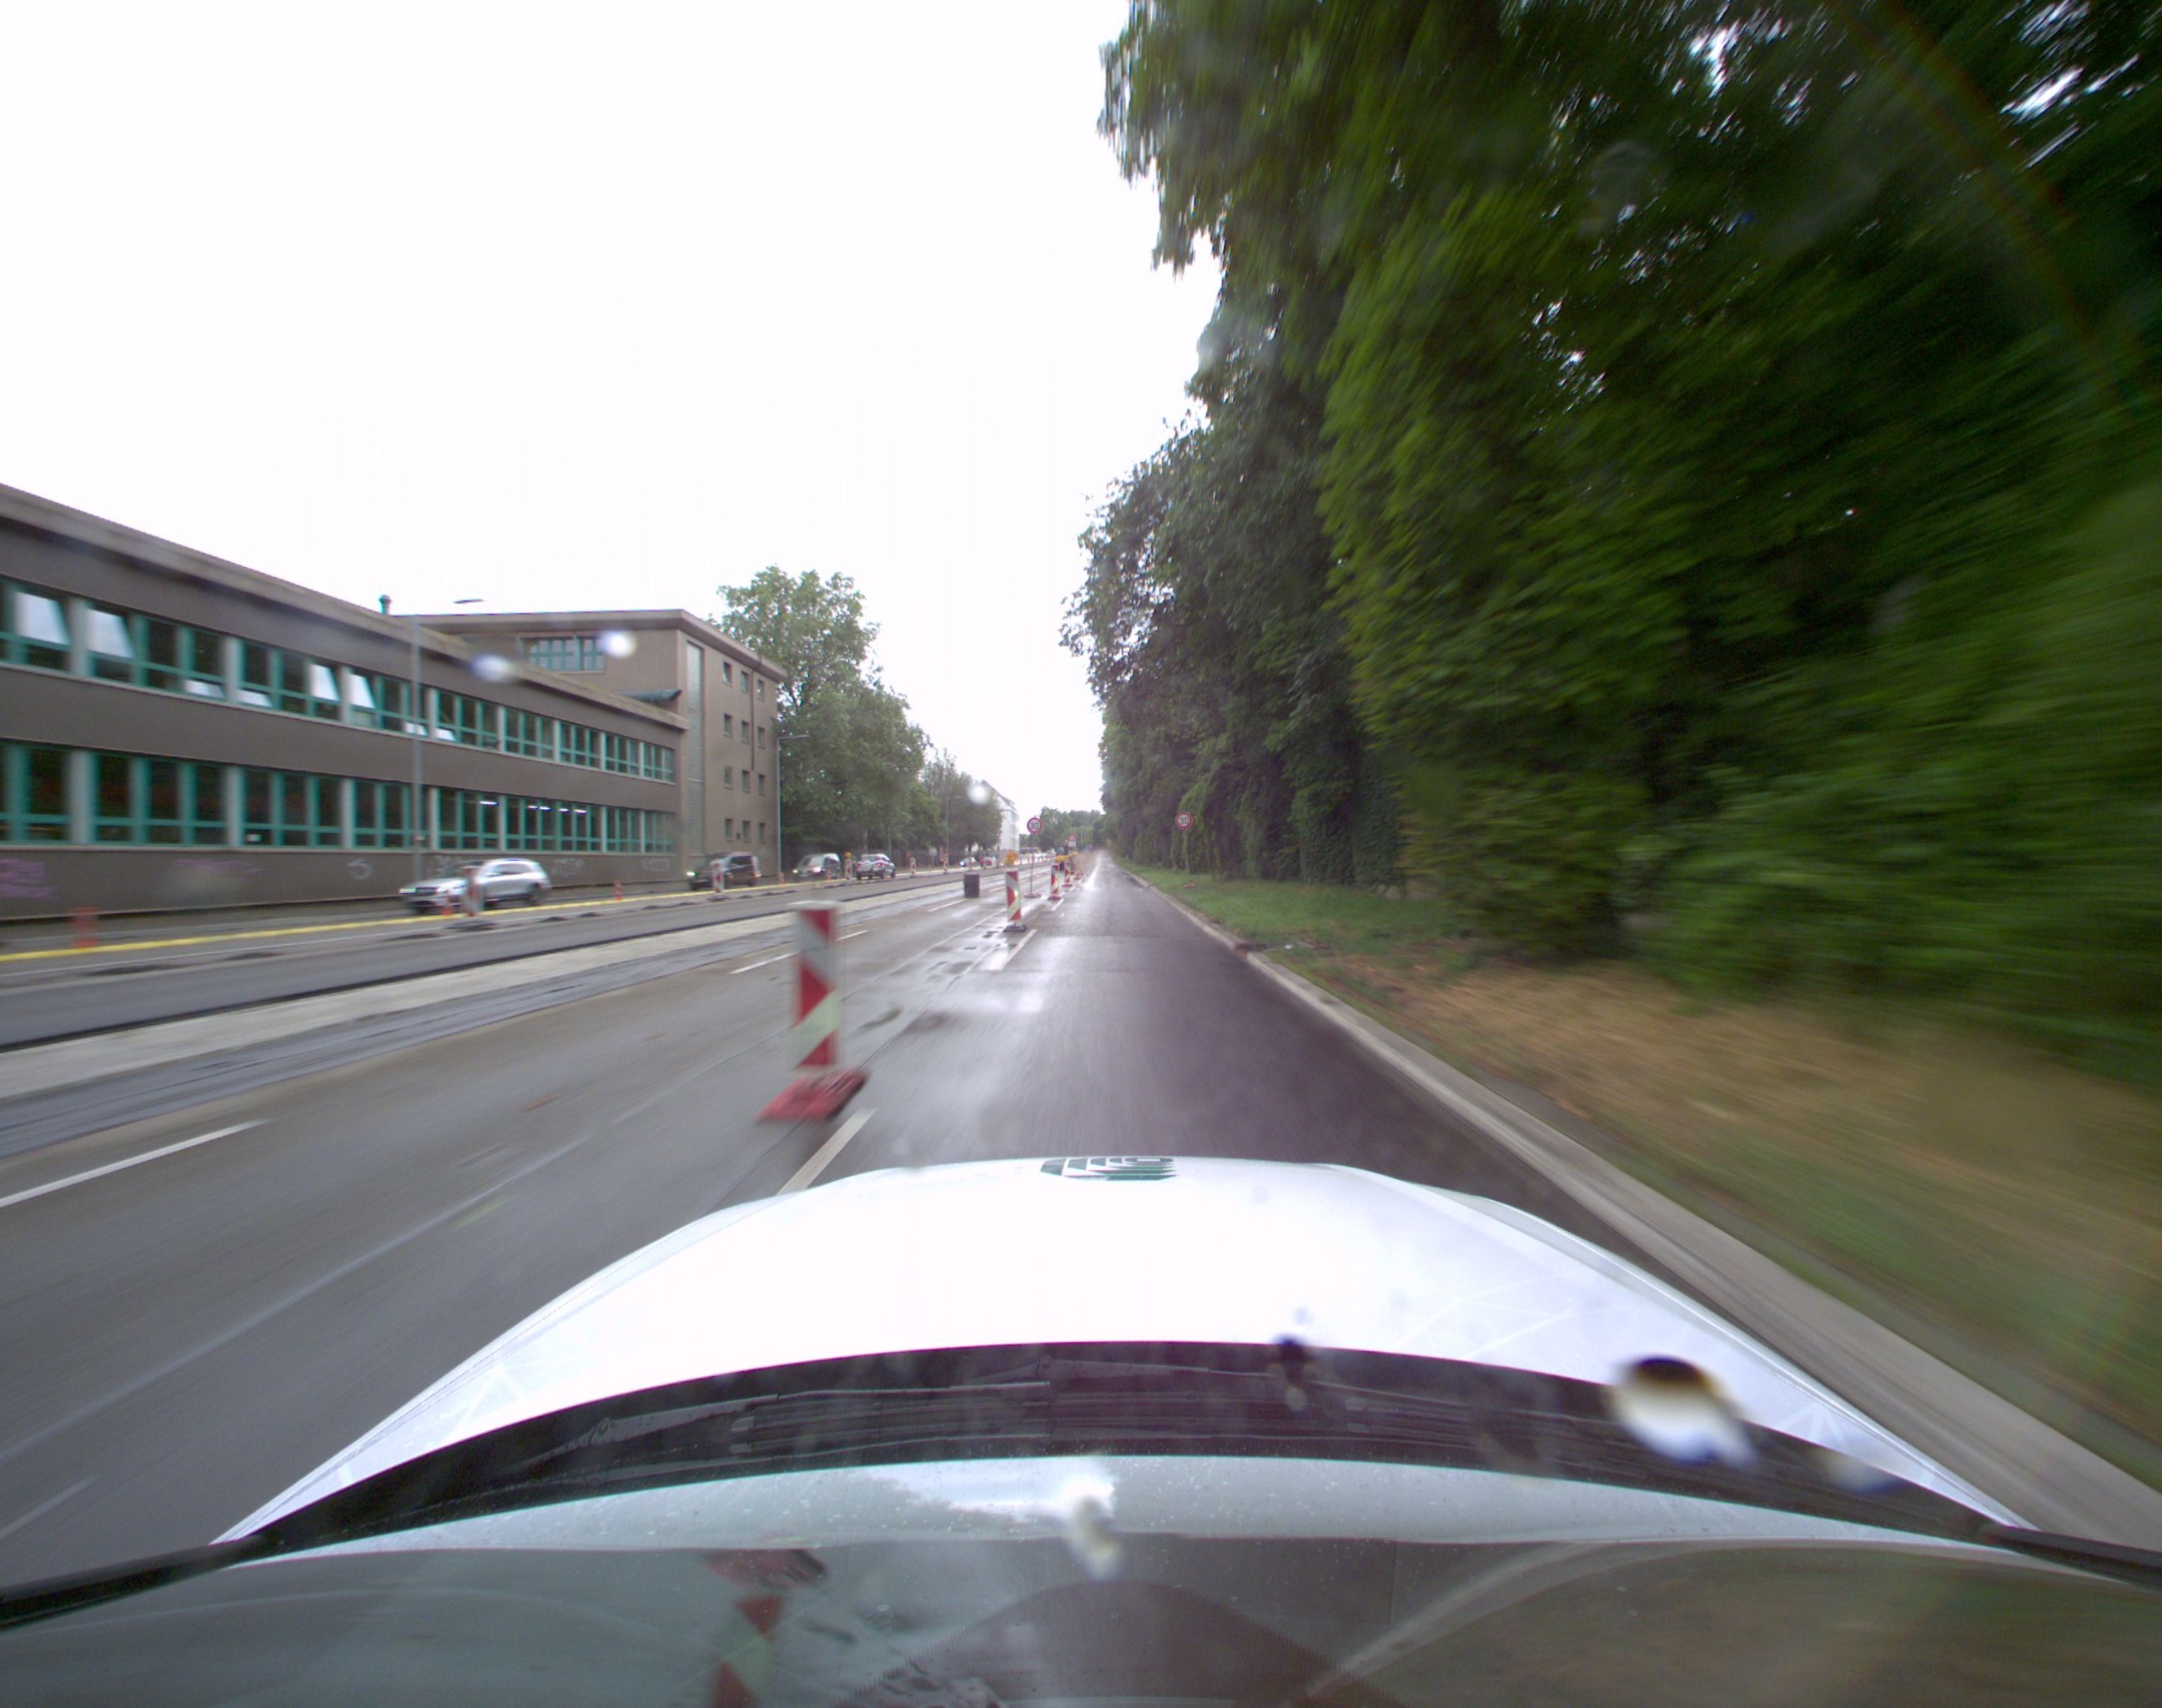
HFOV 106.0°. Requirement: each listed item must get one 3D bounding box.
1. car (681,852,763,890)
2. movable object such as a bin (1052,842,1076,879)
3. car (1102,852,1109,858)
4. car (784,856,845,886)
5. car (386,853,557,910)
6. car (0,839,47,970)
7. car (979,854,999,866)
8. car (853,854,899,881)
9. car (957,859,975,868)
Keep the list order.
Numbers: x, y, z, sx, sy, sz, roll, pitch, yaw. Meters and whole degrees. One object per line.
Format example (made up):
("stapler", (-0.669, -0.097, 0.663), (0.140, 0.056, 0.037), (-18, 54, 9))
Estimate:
("car", (-19.174, 0.909, 43.849), (1.987, 1.919, 5.364), (0, -1, 0))
("movable object such as a bin", (-1.549, 0.634, 77.274), (1.986, 3.367, 5.984), (0, -1, 2))
("car", (6.484, 0.263, 216.852), (1.986, 1.673, 4.001), (0, -1, 2))
("car", (-16.847, 1.052, 51.827), (1.985, 1.780, 4.958), (0, -1, 3))
("car", (-20.014, 0.856, 27.105), (1.931, 1.706, 4.935), (0, -1, 0))
("car", (-14.380, 0.601, 7.937), (2.069, 1.613, 5.056), (0, -1, 1))
("car", (-11.870, 0.808, 105.317), (1.986, 1.519, 4.001), (0, -1, 1))
("car", (-13.226, 0.849, 52.659), (1.848, 1.648, 4.001), (0, -1, 1))
("car", (-17.297, 1.455, 122.845), (1.986, 1.348, 4.792), (0, -1, 2))
